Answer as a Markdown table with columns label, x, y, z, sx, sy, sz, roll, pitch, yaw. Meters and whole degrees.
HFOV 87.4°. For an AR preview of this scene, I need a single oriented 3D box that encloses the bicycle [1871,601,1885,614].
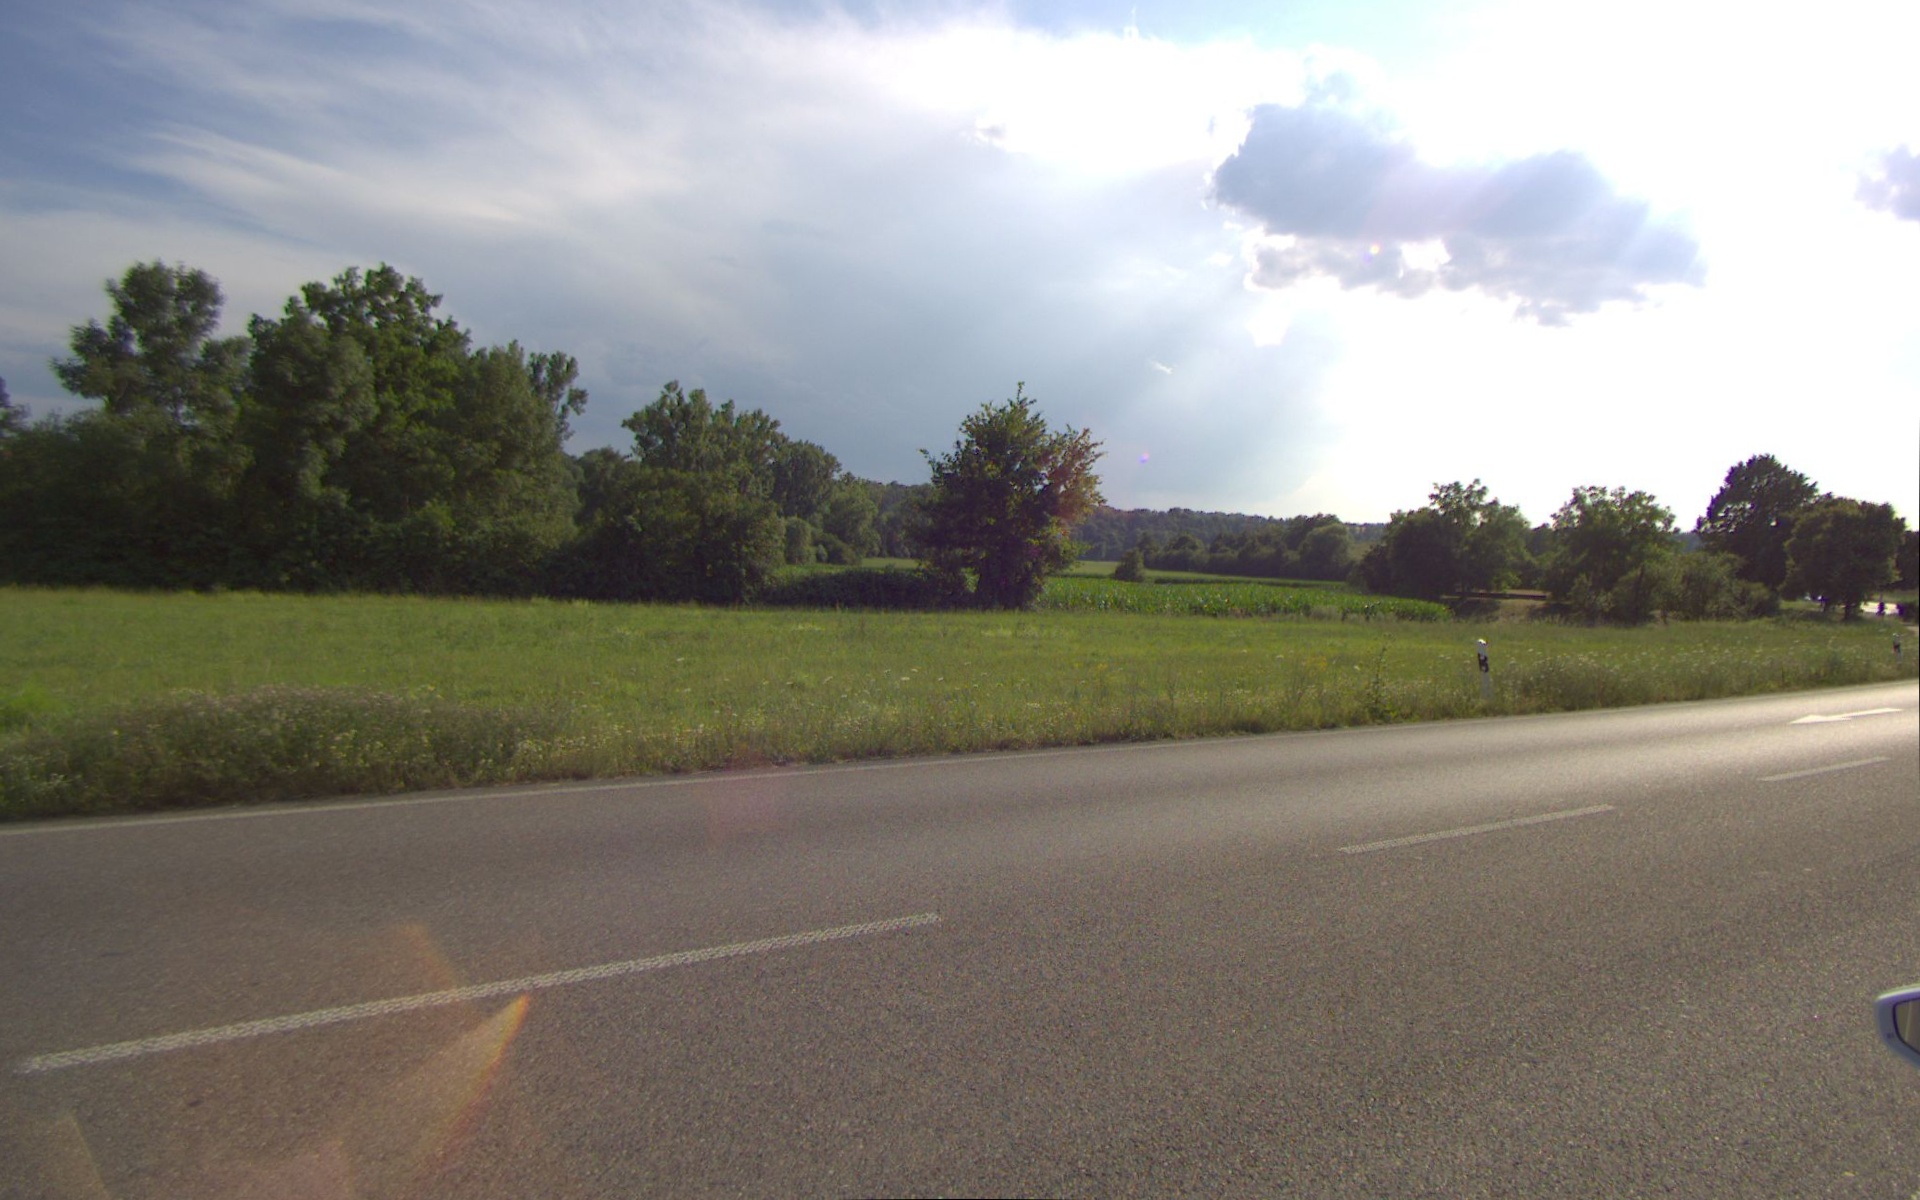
| label | x | y | z | sx | sy | sz | roll | pitch | yaw |
| --- | --- | --- | --- | --- | --- | --- | --- | --- | --- |
| bicycle | 79.994 | 0.680 | 87.526 | 1.656 | 1.089 | 0.630 | 1 | 2 | -39 |

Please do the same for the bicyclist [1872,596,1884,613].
| label | x | y | z | sx | sy | sz | roll | pitch | yaw |
| --- | --- | --- | --- | --- | --- | --- | --- | --- | --- |
| bicyclist | 79.981 | 0.381 | 87.494 | 0.685 | 1.439 | 0.630 | 1 | 2 | -38 |
